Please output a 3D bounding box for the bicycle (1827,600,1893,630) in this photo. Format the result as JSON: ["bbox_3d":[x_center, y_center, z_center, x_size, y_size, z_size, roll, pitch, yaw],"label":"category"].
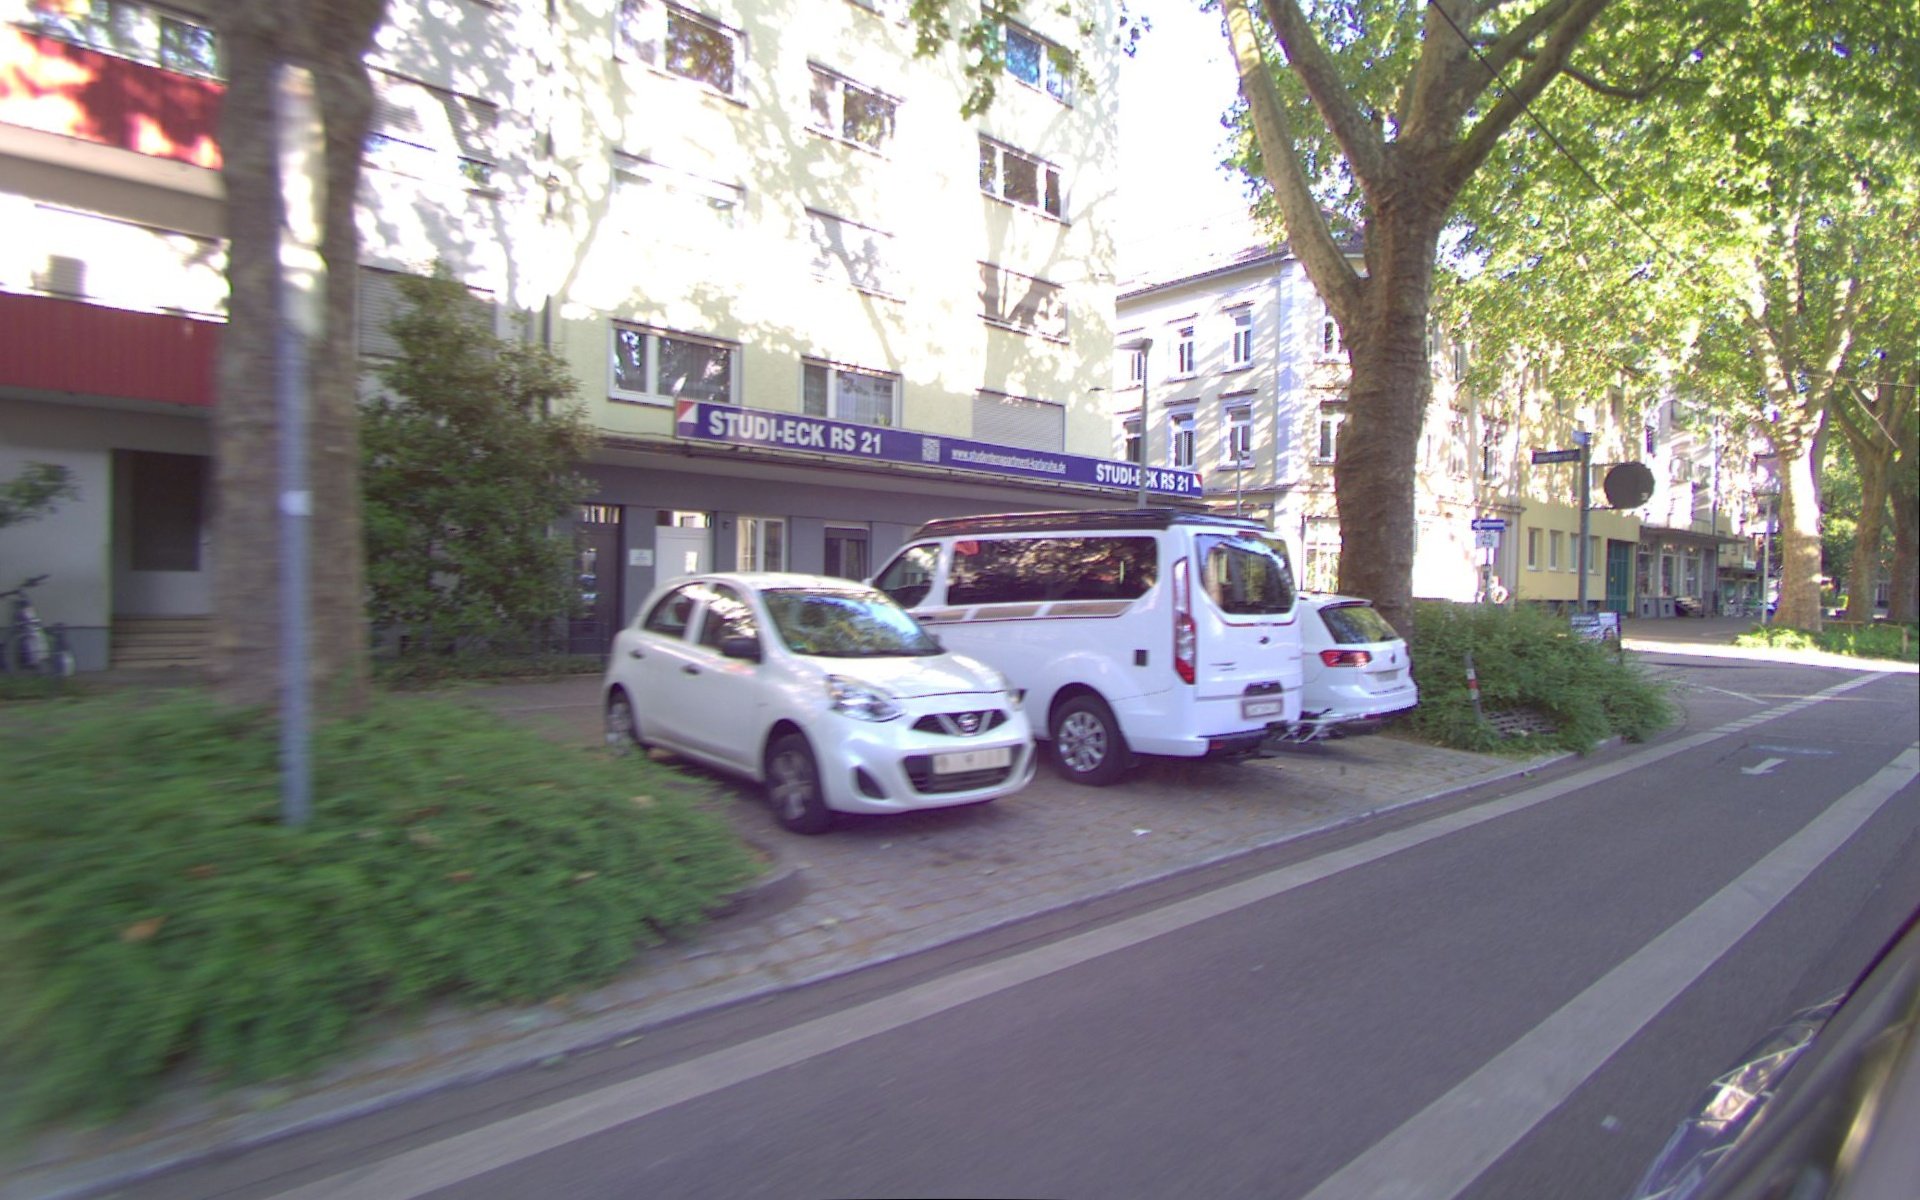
[{"bbox_3d":[36.112,0.584,40.627,0.500,1.017,1.975,1,4,-15],"label":"bicycle"}]

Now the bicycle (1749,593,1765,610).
[{"bbox_3d":[50.952,0.082,64.708,0.570,1.009,1.752,4,4,44],"label":"bicycle"}]

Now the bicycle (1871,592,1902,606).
[{"bbox_3d":[87.617,-0.092,95.722,0.562,1.170,2.036,0,3,-40],"label":"bicycle"}]

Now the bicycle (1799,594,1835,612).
[{"bbox_3d":[60.966,0.187,72.002,1.781,1.170,0.739,4,3,28],"label":"bicycle"}]

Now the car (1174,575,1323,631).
[{"bbox_3d":[9.107,0.059,32.188,4.133,1.613,1.968,2,2,45],"label":"car"}]

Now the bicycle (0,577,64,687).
[{"bbox_3d":[-10.415,0.321,11.247,0.608,1.054,1.793,0,4,-44],"label":"bicycle"}]

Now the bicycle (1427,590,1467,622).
[{"bbox_3d":[17.741,0.195,36.828,1.889,1.117,0.583,0,3,-42],"label":"bicycle"}]

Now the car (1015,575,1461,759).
[{"bbox_3d":[2.736,0.527,10.793,1.799,1.497,4.305,0,2,-41],"label":"car"}]

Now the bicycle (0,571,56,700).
[{"bbox_3d":[-9.877,0.321,10.500,1.945,1.170,0.563,5,4,43],"label":"bicycle"}]

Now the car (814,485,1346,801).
[{"bbox_3d":[0.804,0.209,9.071,1.967,2.102,4.550,0,2,-42],"label":"car"}]

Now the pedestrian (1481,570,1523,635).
[{"bbox_3d":[16.367,0.057,30.539,1.169,1.890,0.767,0,2,-45],"label":"pedestrian"}]

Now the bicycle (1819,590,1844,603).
[{"bbox_3d":[85.612,-0.361,99.421,0.561,1.170,1.684,0,3,-35],"label":"bicycle"}]

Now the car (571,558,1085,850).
[{"bbox_3d":[-1.164,0.477,7.246,1.694,1.497,3.902,0,2,-43],"label":"car"}]
